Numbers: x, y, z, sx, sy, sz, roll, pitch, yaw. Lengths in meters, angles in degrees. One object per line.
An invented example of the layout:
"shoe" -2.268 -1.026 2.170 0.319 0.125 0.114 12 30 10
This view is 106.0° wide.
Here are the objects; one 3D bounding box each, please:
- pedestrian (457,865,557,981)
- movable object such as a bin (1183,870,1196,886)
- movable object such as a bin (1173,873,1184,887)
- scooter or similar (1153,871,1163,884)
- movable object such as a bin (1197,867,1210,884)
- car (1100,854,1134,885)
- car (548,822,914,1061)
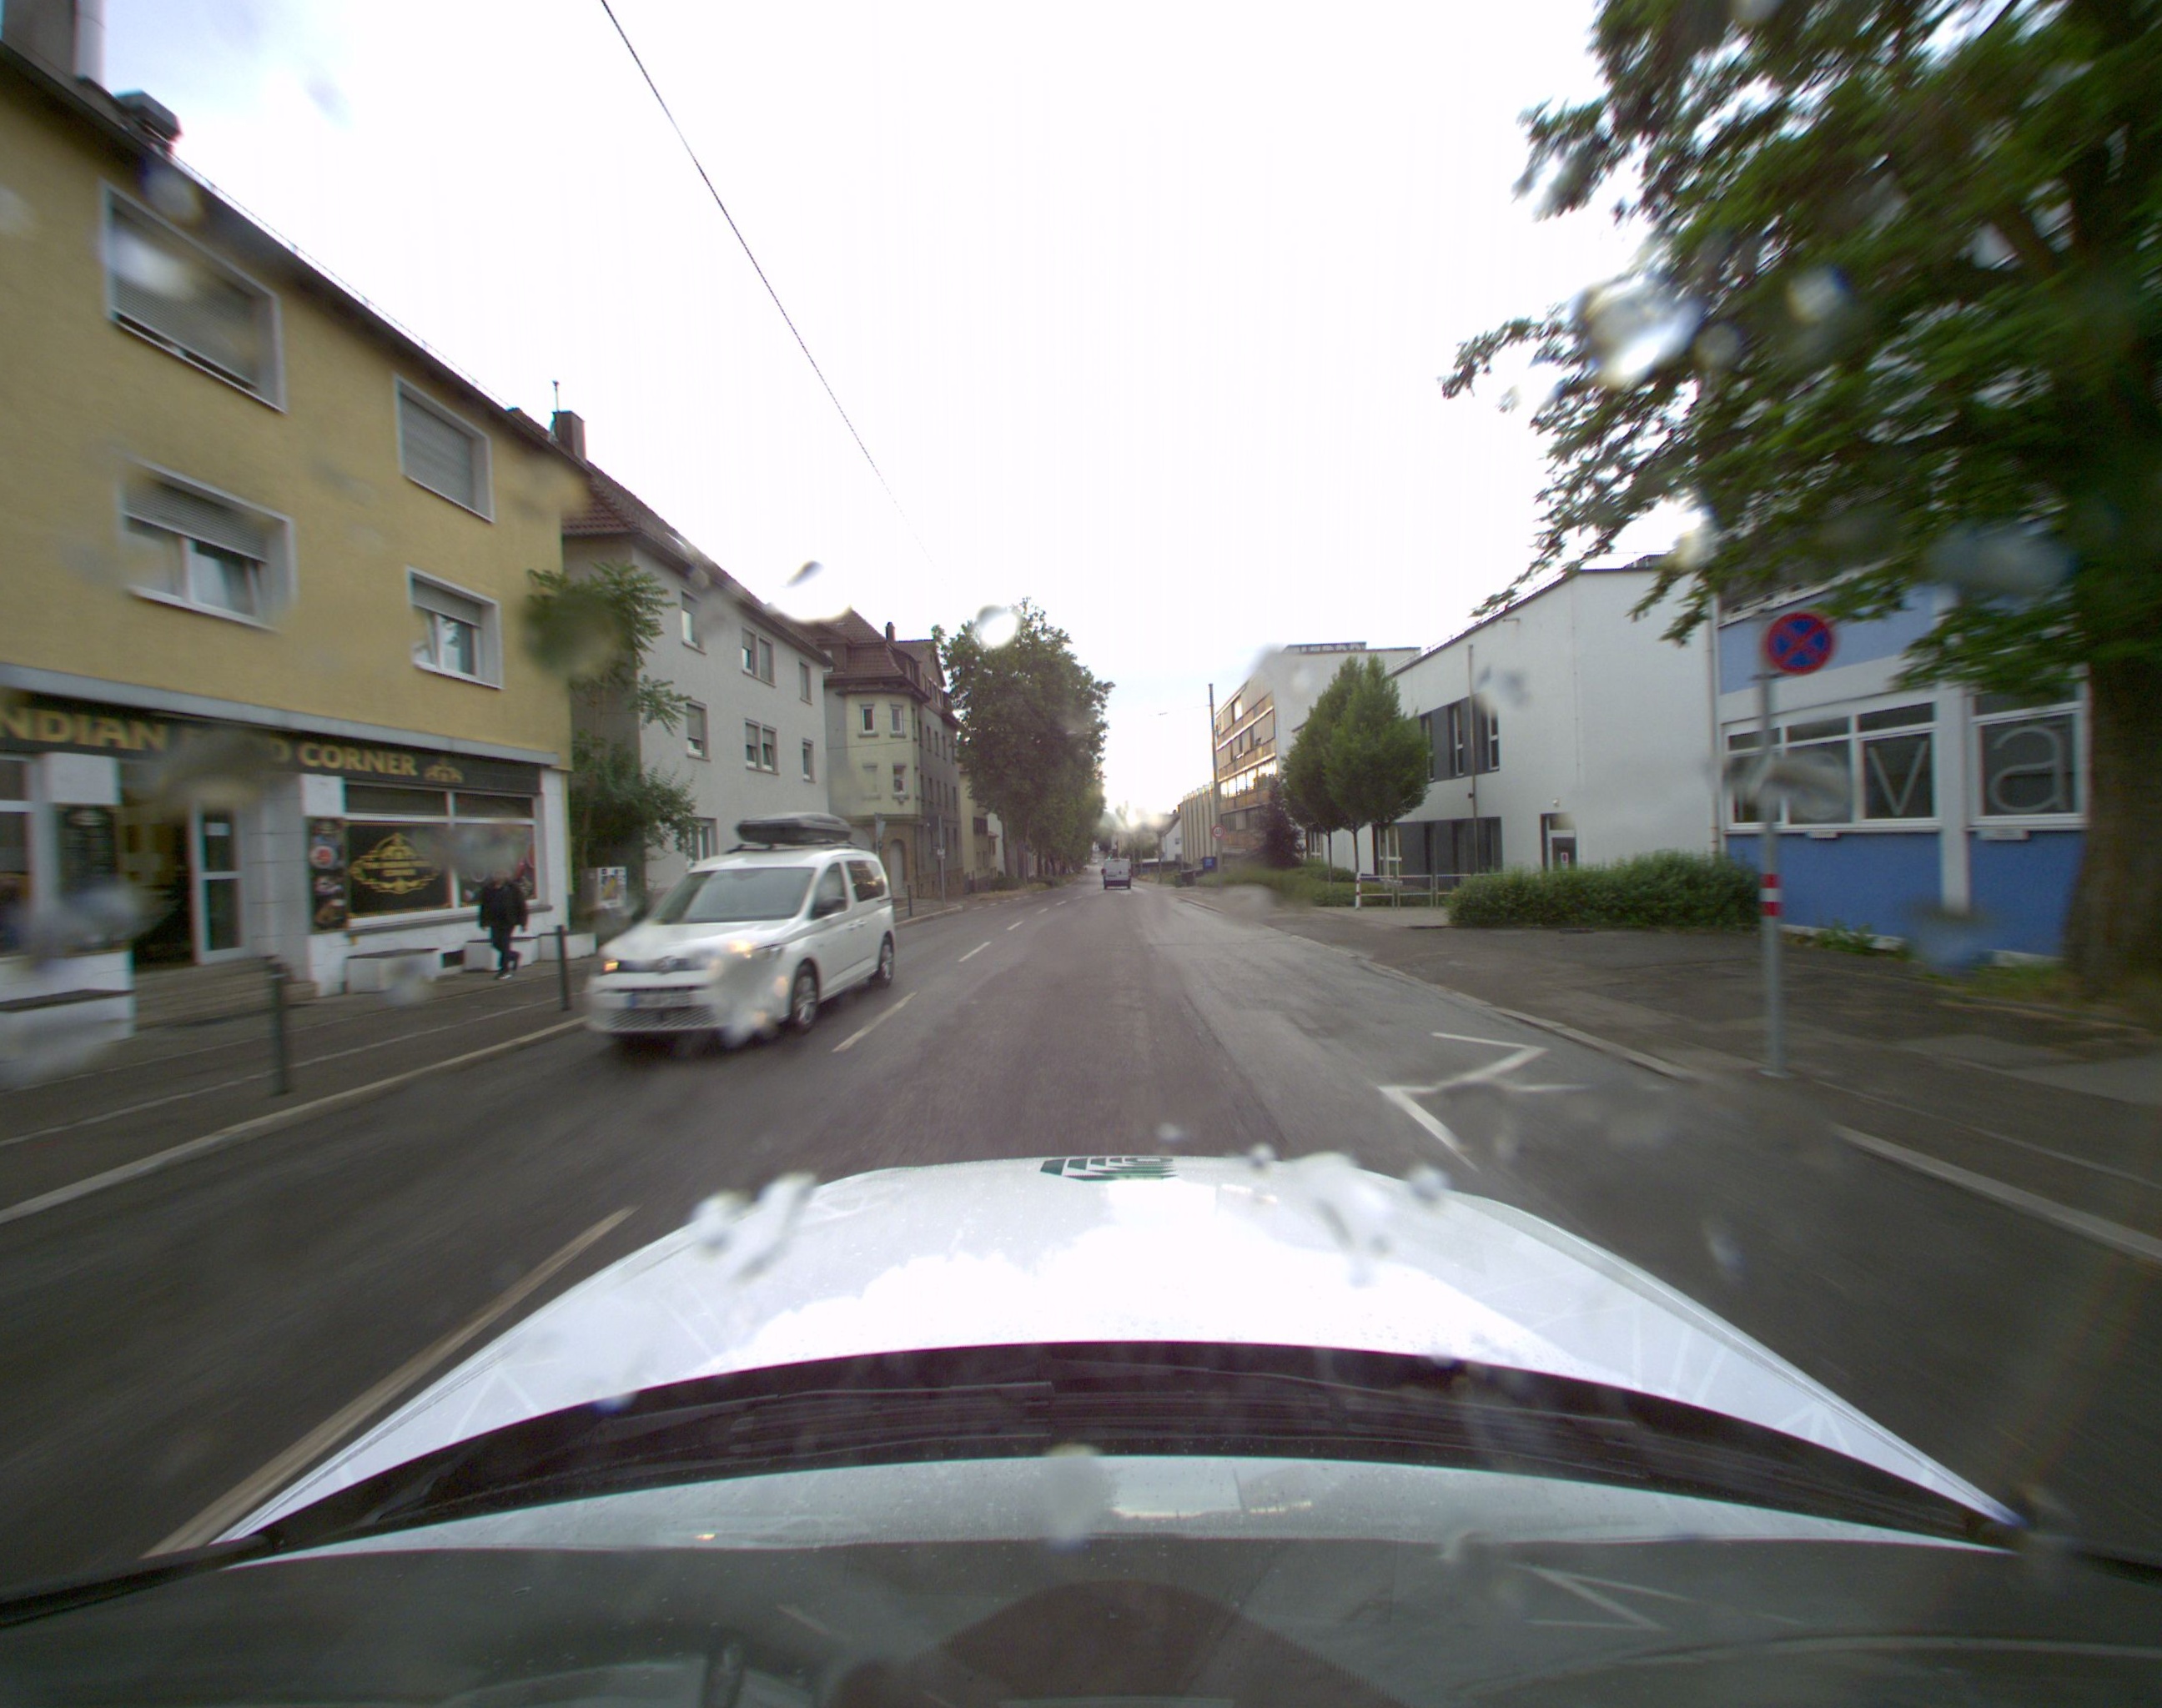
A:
"pedestrian" -8.727 1.020 12.430 0.813 1.679 0.992 -1 -1 -1
"movable object such as a bin" 7.564 1.662 56.760 0.692 1.082 0.779 -5 -1 2
"movable object such as a bin" 6.782 1.782 56.614 0.617 0.936 0.686 -5 -1 2
"scooter or similar" 7.128 2.151 75.512 0.603 1.162 1.698 -2 -2 -3
"movable object such as a bin" 8.529 1.484 56.798 0.692 1.082 0.779 -5 -1 2
"car" 2.704 1.116 62.268 2.339 2.160 4.776 -3 1 0
"car" -3.344 0.748 8.916 1.875 1.870 4.455 -3 -1 2
